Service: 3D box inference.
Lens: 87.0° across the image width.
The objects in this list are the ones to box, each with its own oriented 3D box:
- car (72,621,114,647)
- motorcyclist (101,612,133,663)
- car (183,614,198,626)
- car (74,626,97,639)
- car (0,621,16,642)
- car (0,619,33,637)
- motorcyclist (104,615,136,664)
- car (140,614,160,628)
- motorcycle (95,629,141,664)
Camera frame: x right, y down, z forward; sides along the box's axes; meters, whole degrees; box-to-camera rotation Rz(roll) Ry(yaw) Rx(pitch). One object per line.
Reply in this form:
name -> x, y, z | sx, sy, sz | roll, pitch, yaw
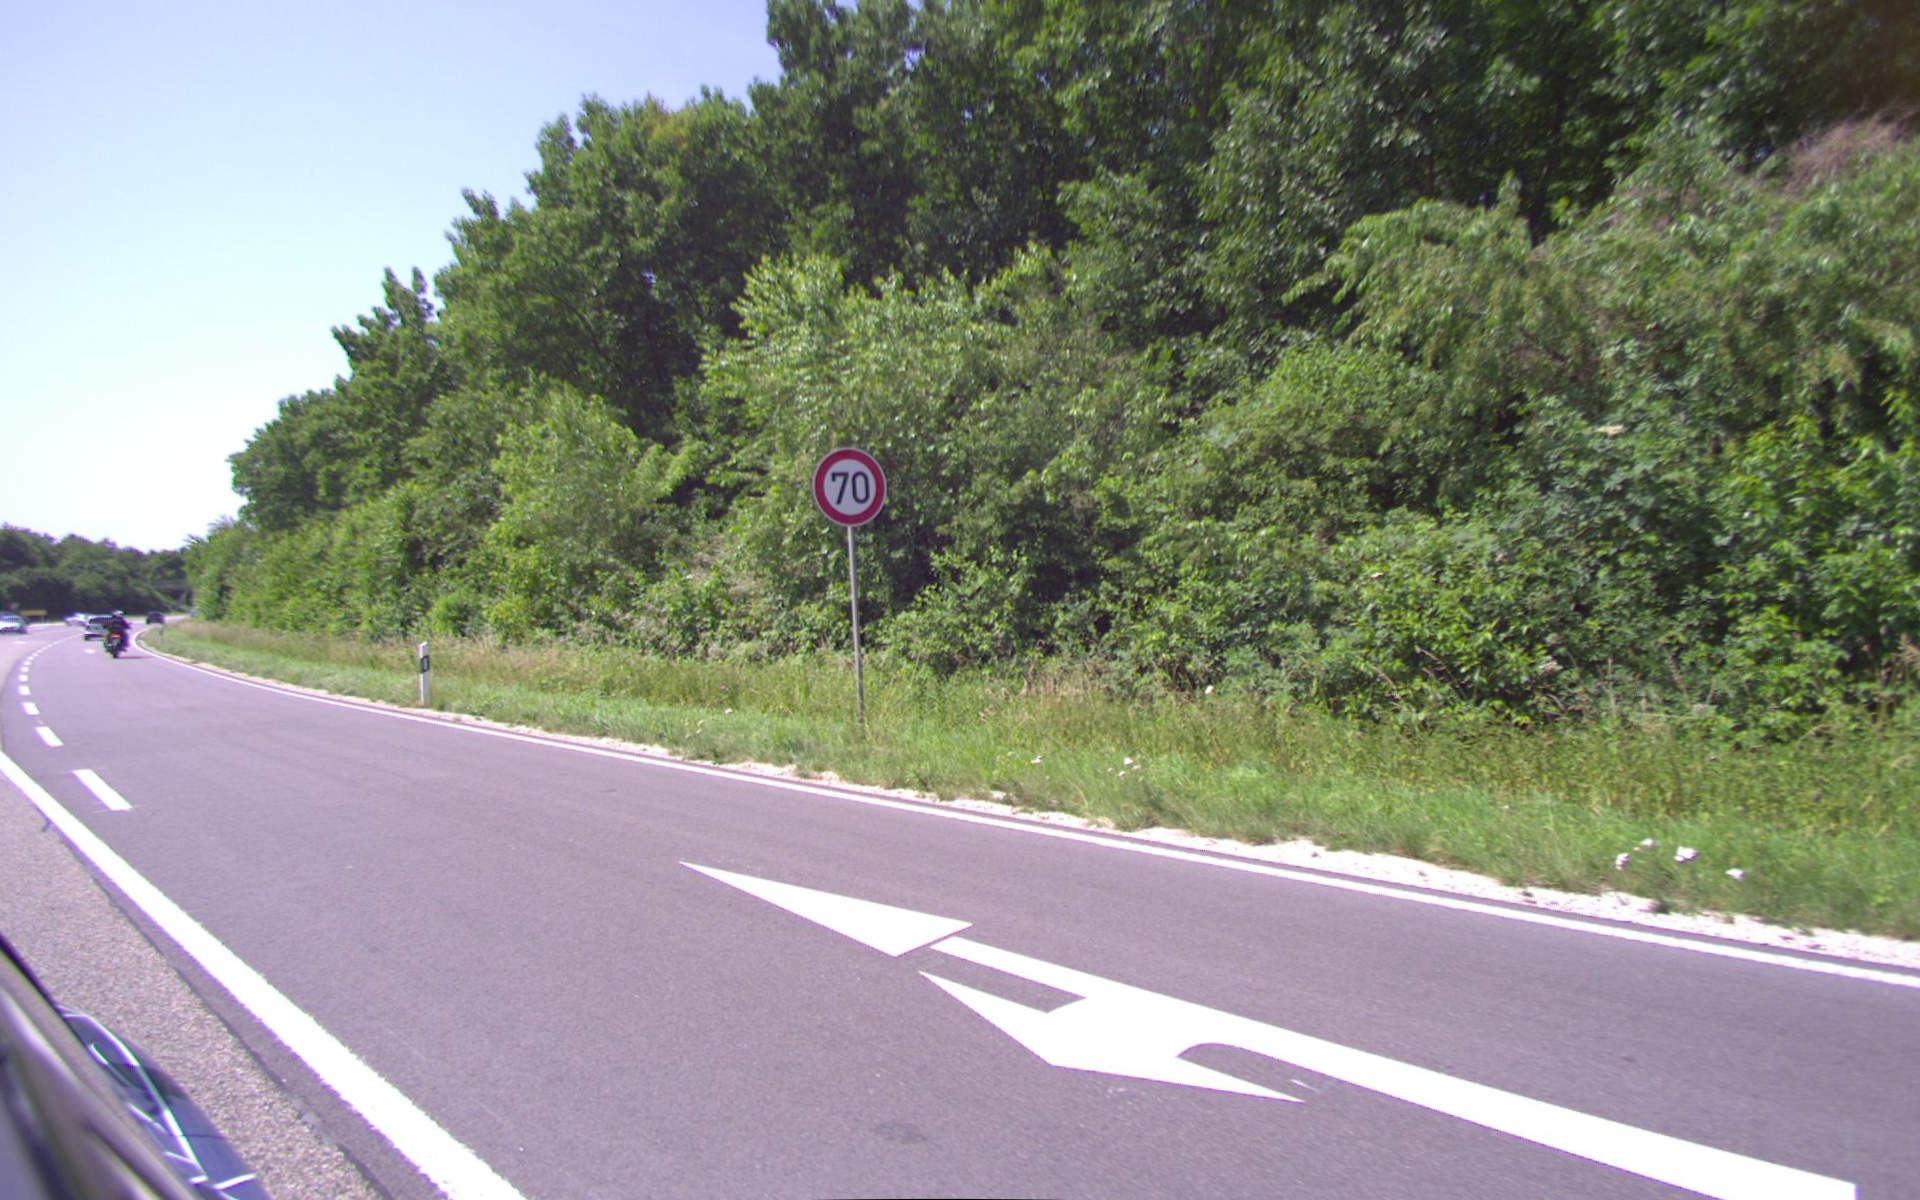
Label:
car -> -58.604, 2.258, 68.385 | 4.214, 1.649, 1.782 | -1, 0, 45
motorcyclist -> -31.857, 1.407, 38.248 | 0.657, 1.896, 0.811 | -2, -1, 41
car -> -122.287, 3.125, 160.844 | 1.819, 1.792, 4.903 | -1, -1, -38
car -> -104.282, 3.882, 120.662 | 1.686, 1.430, 4.108 | -1, 0, -36
car -> -84.144, 2.770, 88.738 | 4.002, 1.821, 1.784 | -2, -1, 45
car -> -107.546, 3.179, 113.434 | 2.010, 1.921, 5.165 | 0, 1, 37
motorcyclist -> -31.341, 1.465, 37.746 | 0.623, 1.765, 0.822 | -2, -1, 41
car -> -99.851, 2.622, 124.772 | 1.780, 1.649, 4.218 | 0, -1, -41
motorcycle -> -31.841, 1.733, 38.244 | 2.681, 1.260, 0.937 | -2, -1, 42
